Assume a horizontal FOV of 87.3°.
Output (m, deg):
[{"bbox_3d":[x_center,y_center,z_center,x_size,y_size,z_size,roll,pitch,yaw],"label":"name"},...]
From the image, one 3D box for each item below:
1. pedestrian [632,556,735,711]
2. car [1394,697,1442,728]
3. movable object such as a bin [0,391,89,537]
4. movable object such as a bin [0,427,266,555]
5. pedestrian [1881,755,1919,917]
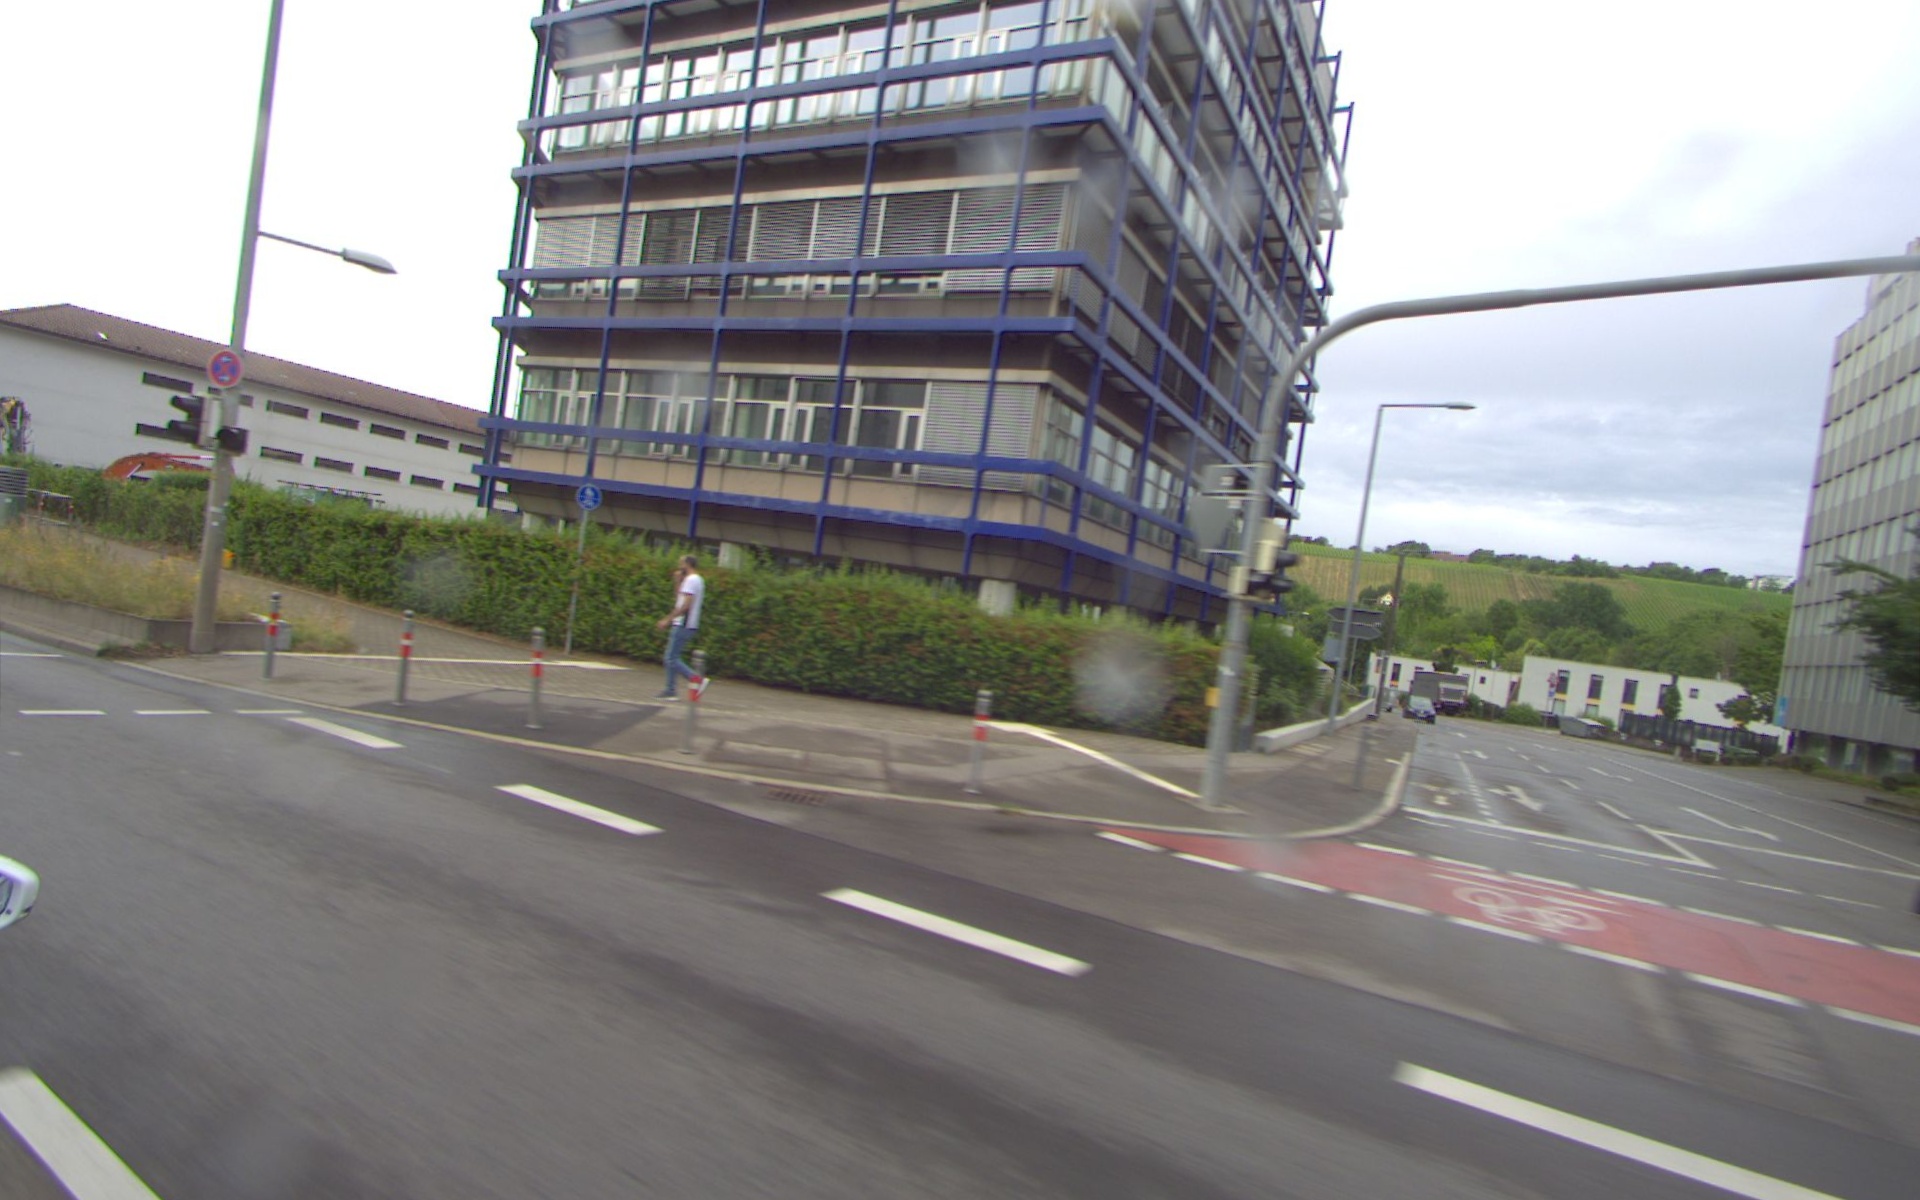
[{"bbox_3d":[-3.192,0.390,11.641,0.817,1.672,0.555,6,0,23],"label":"pedestrian"},{"bbox_3d":[29.272,7.172,64.388,1.962,1.658,4.007,6,-3,15],"label":"car"},{"bbox_3d":[-43.987,-6.180,46.398,8.628,5.748,3.294,5,-3,35],"label":"movable object such as a bin"},{"bbox_3d":[-48.627,-6.109,59.078,3.728,5.324,12.154,5,-1,32],"label":"movable object such as a bin"},{"bbox_3d":[10.034,2.421,10.045,0.891,1.559,0.796,7,-1,-19],"label":"pedestrian"}]
